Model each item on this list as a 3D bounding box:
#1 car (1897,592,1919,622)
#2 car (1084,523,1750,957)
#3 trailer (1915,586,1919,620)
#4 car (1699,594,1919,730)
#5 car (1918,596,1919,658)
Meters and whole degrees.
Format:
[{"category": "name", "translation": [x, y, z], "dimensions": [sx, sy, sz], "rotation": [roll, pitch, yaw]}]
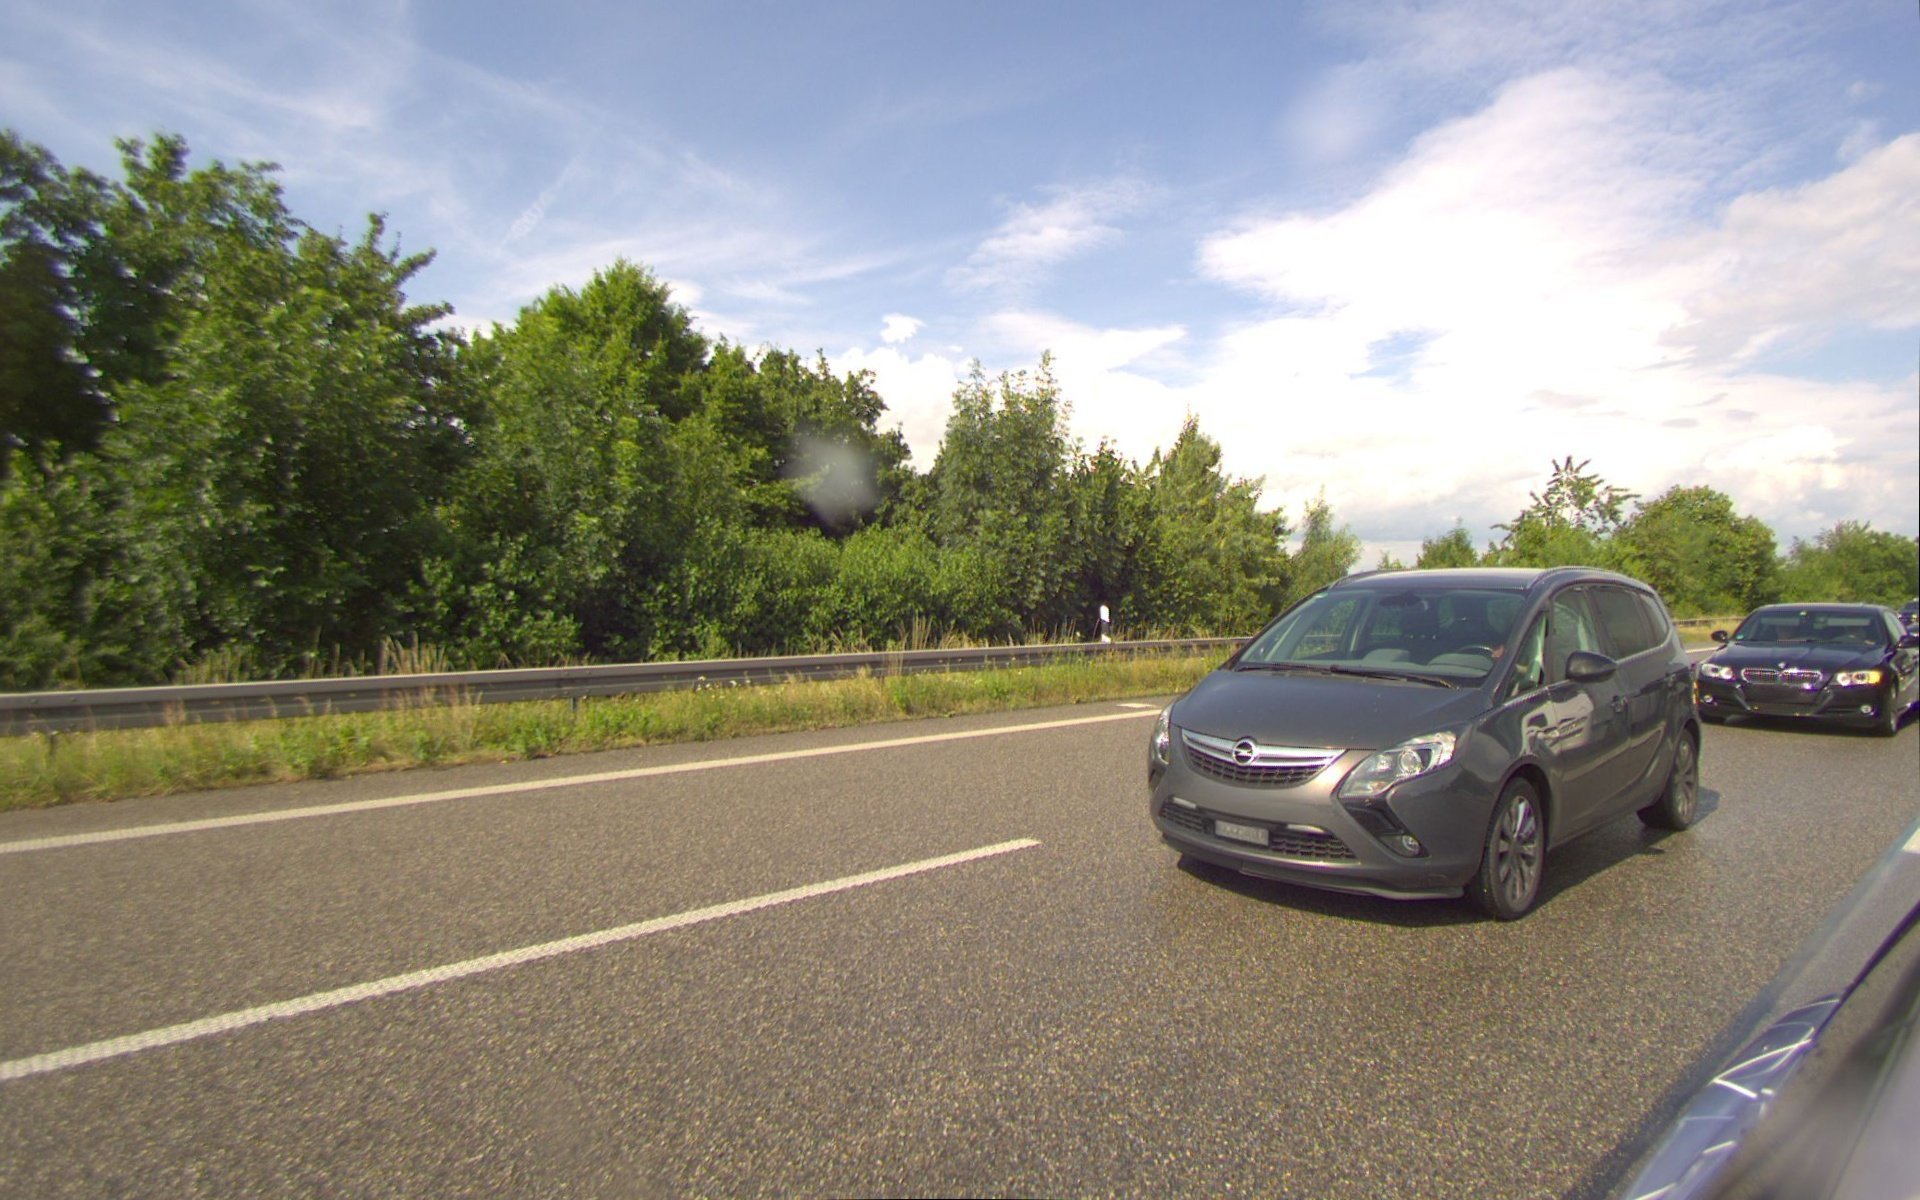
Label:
[{"category": "car", "translation": [49.578, 0.344, 51.884], "dimensions": [4.326, 1.449, 1.747], "rotation": [0, 1, -40]}, {"category": "car", "translation": [3.008, 0.513, 6.080], "dimensions": [4.652, 1.652, 1.857], "rotation": [0, 0, -40]}, {"category": "trailer", "translation": [52.850, 0.146, 54.382], "dimensions": [3.898, 1.768, 1.809], "rotation": [0, 0, -41]}, {"category": "car", "translation": [10.441, 0.625, 12.153], "dimensions": [3.816, 1.371, 1.721], "rotation": [0, 0, -41]}, {"category": "car", "translation": [23.244, 0.598, 23.217], "dimensions": [3.935, 1.382, 1.740], "rotation": [0, 1, -45]}]
